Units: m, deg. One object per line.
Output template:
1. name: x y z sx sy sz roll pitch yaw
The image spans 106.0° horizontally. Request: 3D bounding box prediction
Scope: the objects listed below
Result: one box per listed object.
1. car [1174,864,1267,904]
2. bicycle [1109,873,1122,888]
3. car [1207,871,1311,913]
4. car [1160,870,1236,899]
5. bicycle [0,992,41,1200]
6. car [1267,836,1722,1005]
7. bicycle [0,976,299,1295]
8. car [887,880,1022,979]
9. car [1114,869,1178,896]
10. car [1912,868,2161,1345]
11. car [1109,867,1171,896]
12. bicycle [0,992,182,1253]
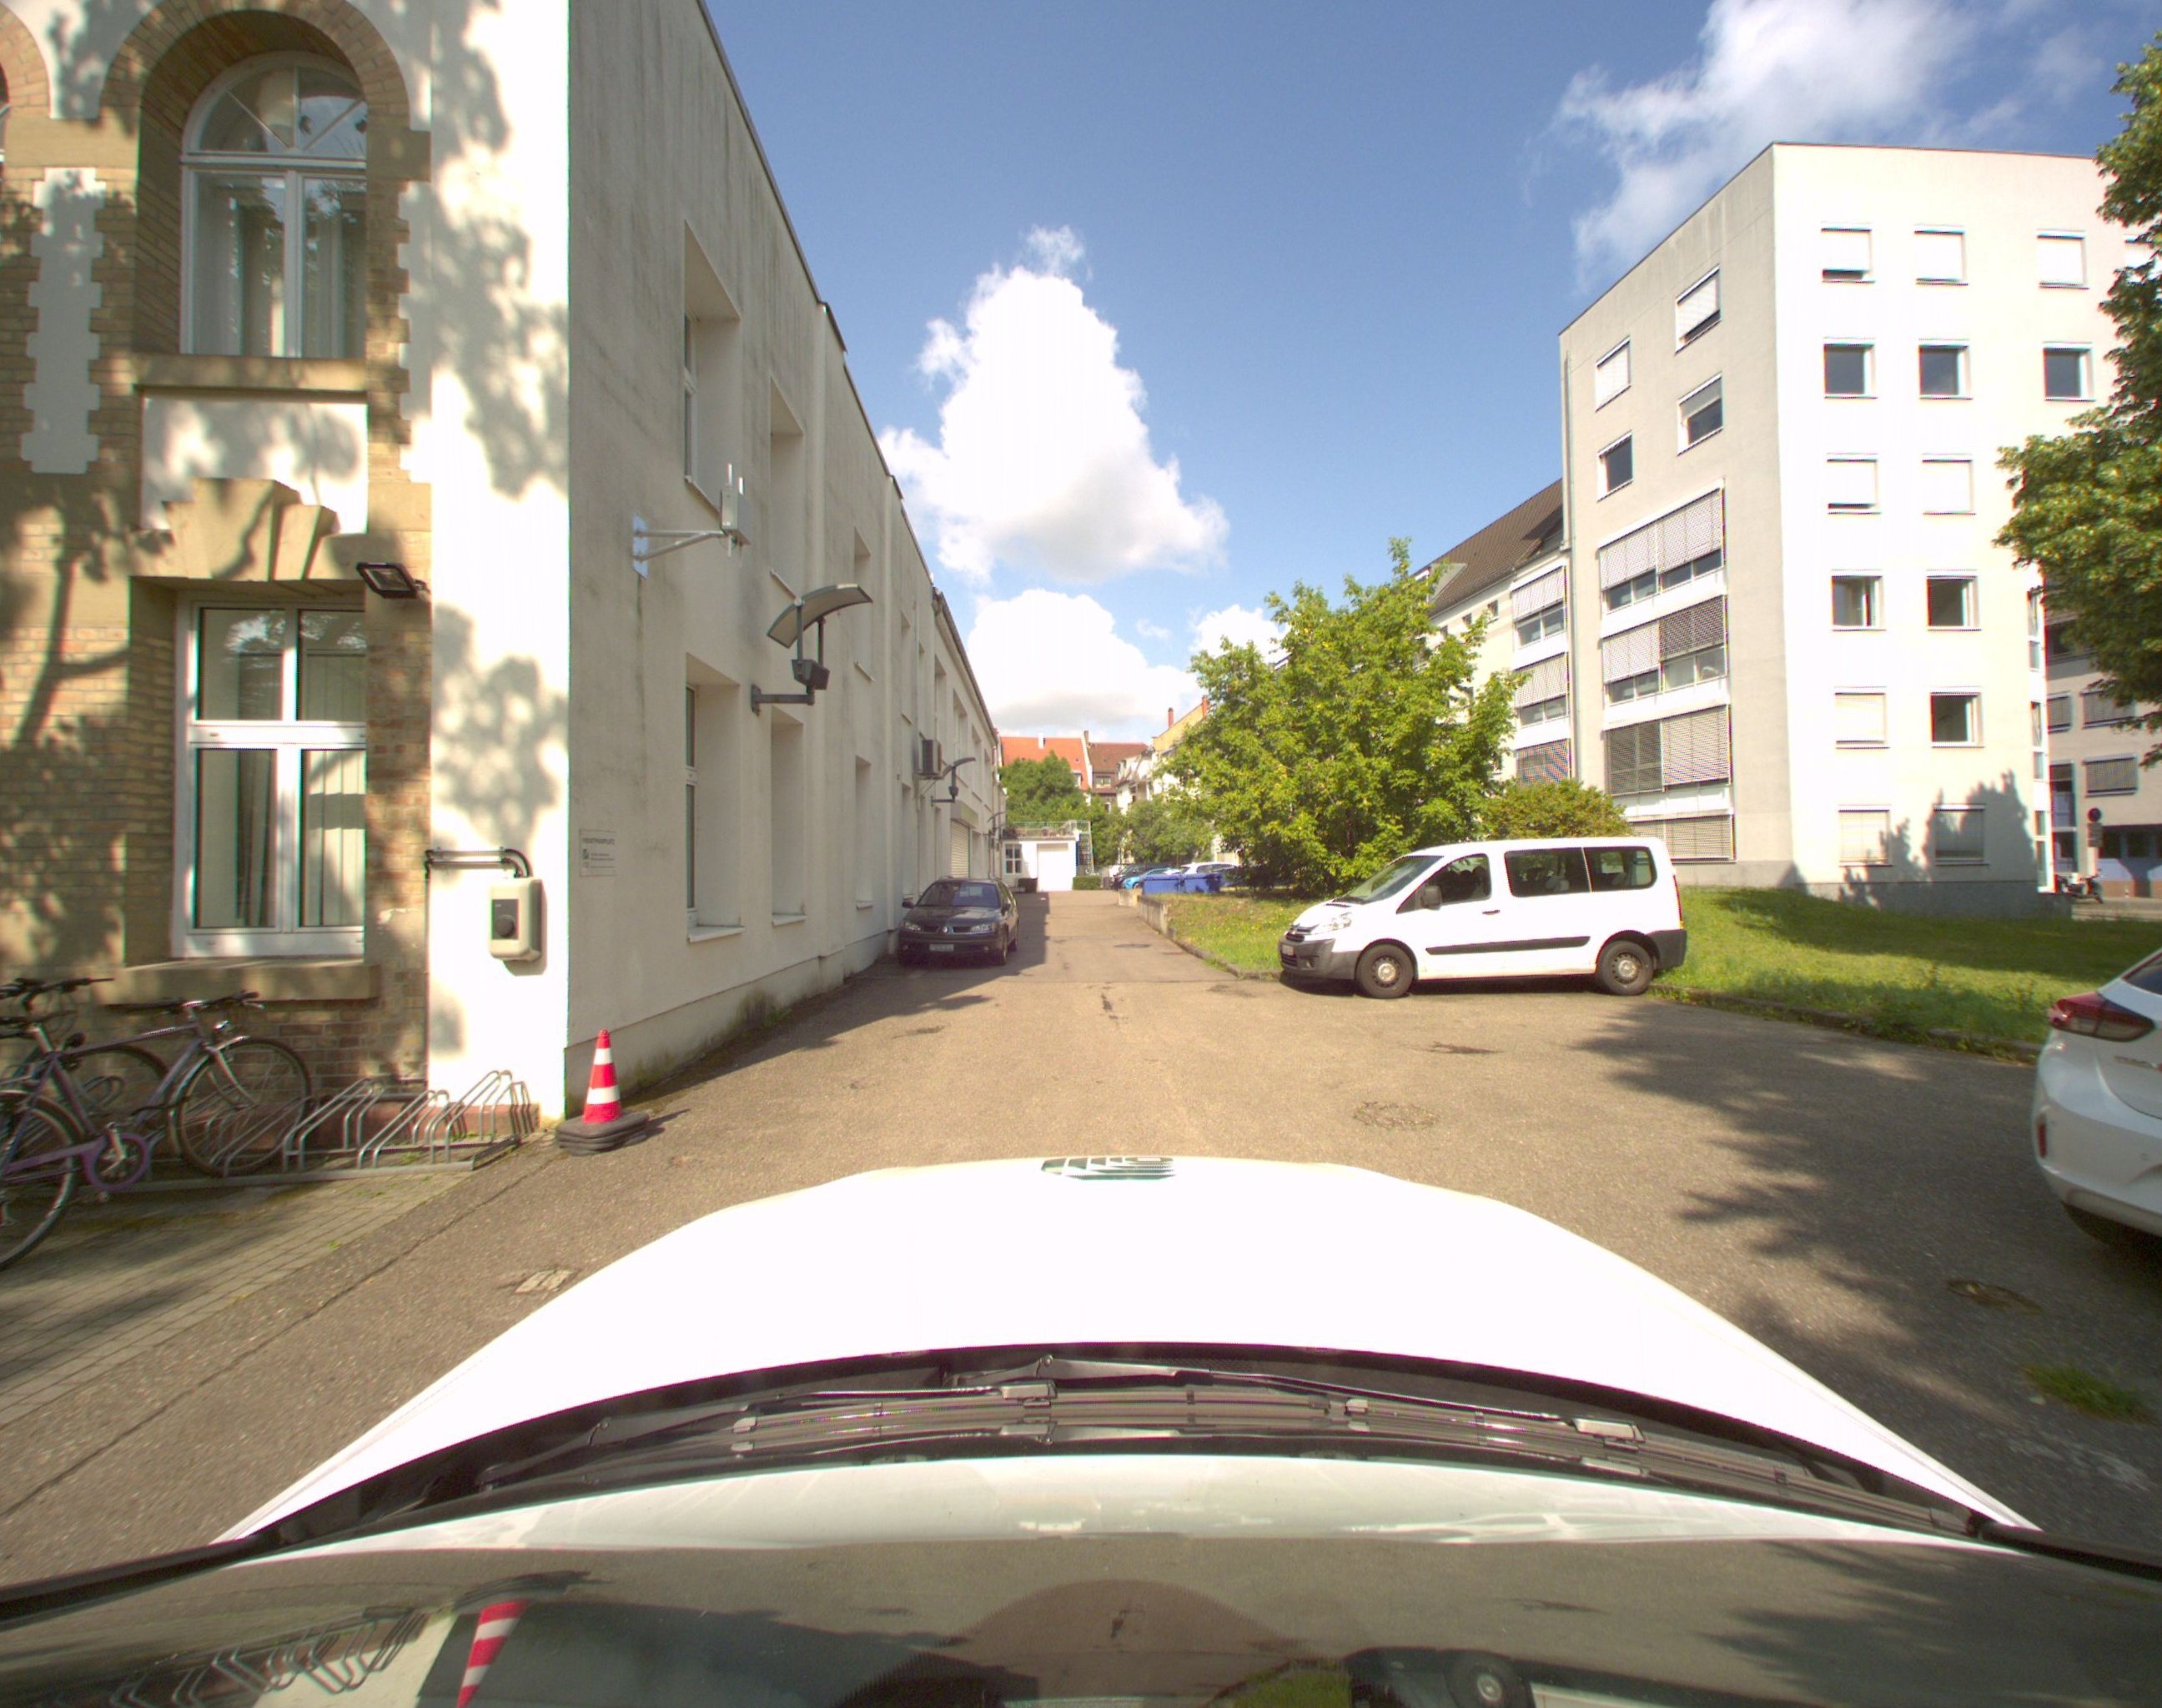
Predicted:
1. car: 6.601 1.378 38.740 3.985 1.745 1.944 0 1 -8
2. bicycle: 2.780 2.114 66.215 0.641 1.117 1.851 2 1 -11
3. car: 7.814 1.662 35.898 4.110 1.606 1.750 2 1 -8
4. car: 6.649 1.714 46.502 3.985 1.444 1.625 -1 3 -8
5. bicycle: -5.614 1.248 3.360 0.318 1.037 1.857 2 0 -4
6. car: 5.120 0.799 10.597 4.925 1.965 1.998 0 -2 -2
7. bicycle: -4.334 1.177 3.446 0.318 1.037 1.857 2 0 -4
8. car: -2.089 1.220 14.615 1.875 1.442 4.336 1 -1 -3
9. car: 4.266 1.836 53.536 3.985 1.573 1.625 -1 3 -8
10. car: 5.226 0.757 2.425 3.896 1.420 1.756 -1 0 -4
11. car: 4.074 1.923 56.305 3.985 1.817 1.659 2 0 -8
12. bicycle: -4.984 1.268 3.466 0.318 1.037 1.857 2 0 -4
